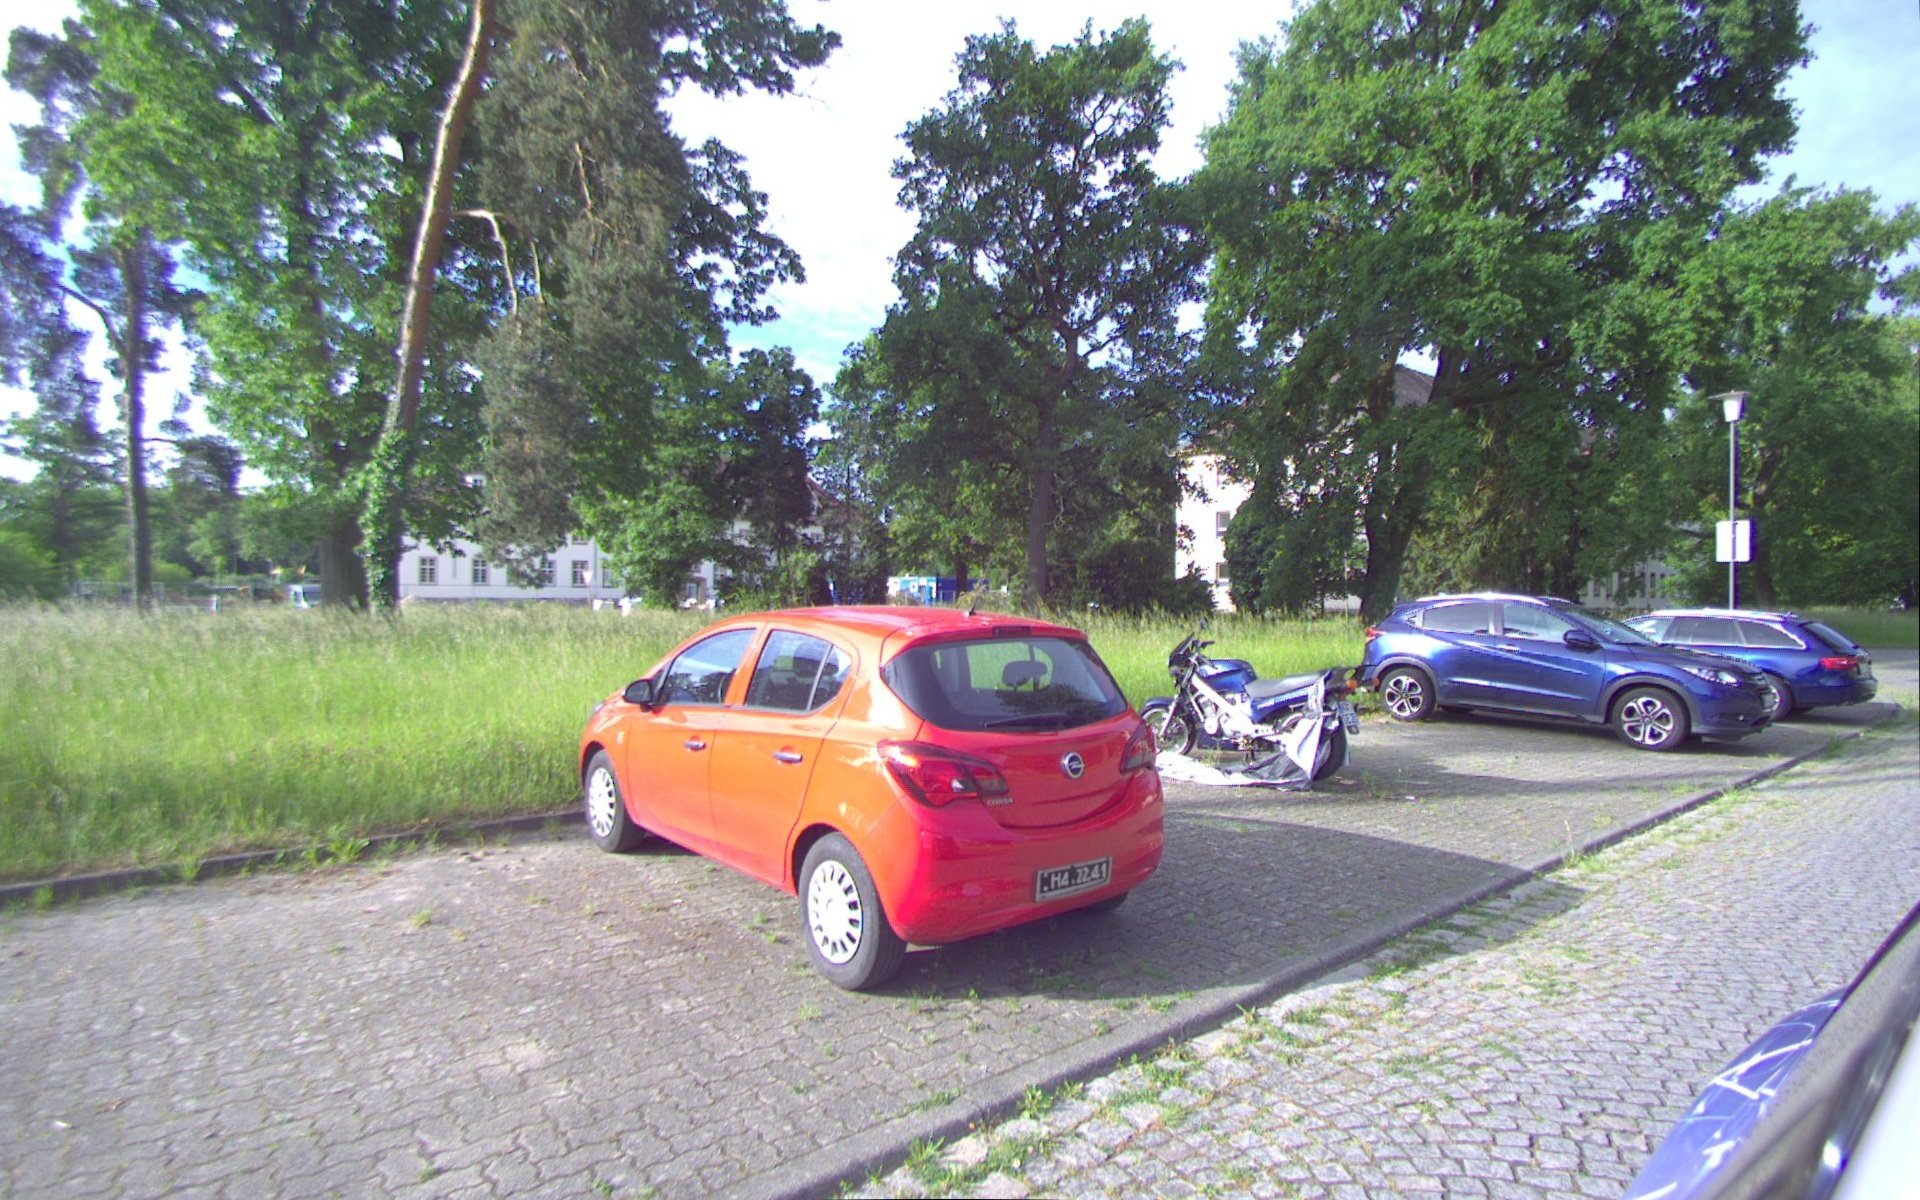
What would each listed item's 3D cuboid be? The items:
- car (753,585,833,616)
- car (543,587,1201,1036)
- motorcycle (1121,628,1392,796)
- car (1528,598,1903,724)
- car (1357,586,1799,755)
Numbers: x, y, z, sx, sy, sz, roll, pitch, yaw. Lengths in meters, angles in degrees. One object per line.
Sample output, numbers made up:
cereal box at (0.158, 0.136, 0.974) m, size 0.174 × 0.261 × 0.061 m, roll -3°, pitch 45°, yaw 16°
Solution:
car at (-12.866, 0.041, 78.254) m, size 5.852 × 2.328 × 2.167 m, roll 0°, pitch 0°, yaw -38°
car at (-0.790, 0.708, 5.534) m, size 1.657 × 1.491 × 3.884 m, roll -1°, pitch 2°, yaw -40°
motorcycle at (2.436, 0.867, 8.651) m, size 0.596 × 1.127 × 2.308 m, roll -1°, pitch 2°, yaw -38°
car at (10.750, 0.753, 14.667) m, size 1.750 × 1.468 × 4.037 m, roll -1°, pitch 1°, yaw -37°
car at (7.046, 0.651, 11.910) m, size 1.716 × 1.588 × 4.134 m, roll -1°, pitch 1°, yaw -40°
